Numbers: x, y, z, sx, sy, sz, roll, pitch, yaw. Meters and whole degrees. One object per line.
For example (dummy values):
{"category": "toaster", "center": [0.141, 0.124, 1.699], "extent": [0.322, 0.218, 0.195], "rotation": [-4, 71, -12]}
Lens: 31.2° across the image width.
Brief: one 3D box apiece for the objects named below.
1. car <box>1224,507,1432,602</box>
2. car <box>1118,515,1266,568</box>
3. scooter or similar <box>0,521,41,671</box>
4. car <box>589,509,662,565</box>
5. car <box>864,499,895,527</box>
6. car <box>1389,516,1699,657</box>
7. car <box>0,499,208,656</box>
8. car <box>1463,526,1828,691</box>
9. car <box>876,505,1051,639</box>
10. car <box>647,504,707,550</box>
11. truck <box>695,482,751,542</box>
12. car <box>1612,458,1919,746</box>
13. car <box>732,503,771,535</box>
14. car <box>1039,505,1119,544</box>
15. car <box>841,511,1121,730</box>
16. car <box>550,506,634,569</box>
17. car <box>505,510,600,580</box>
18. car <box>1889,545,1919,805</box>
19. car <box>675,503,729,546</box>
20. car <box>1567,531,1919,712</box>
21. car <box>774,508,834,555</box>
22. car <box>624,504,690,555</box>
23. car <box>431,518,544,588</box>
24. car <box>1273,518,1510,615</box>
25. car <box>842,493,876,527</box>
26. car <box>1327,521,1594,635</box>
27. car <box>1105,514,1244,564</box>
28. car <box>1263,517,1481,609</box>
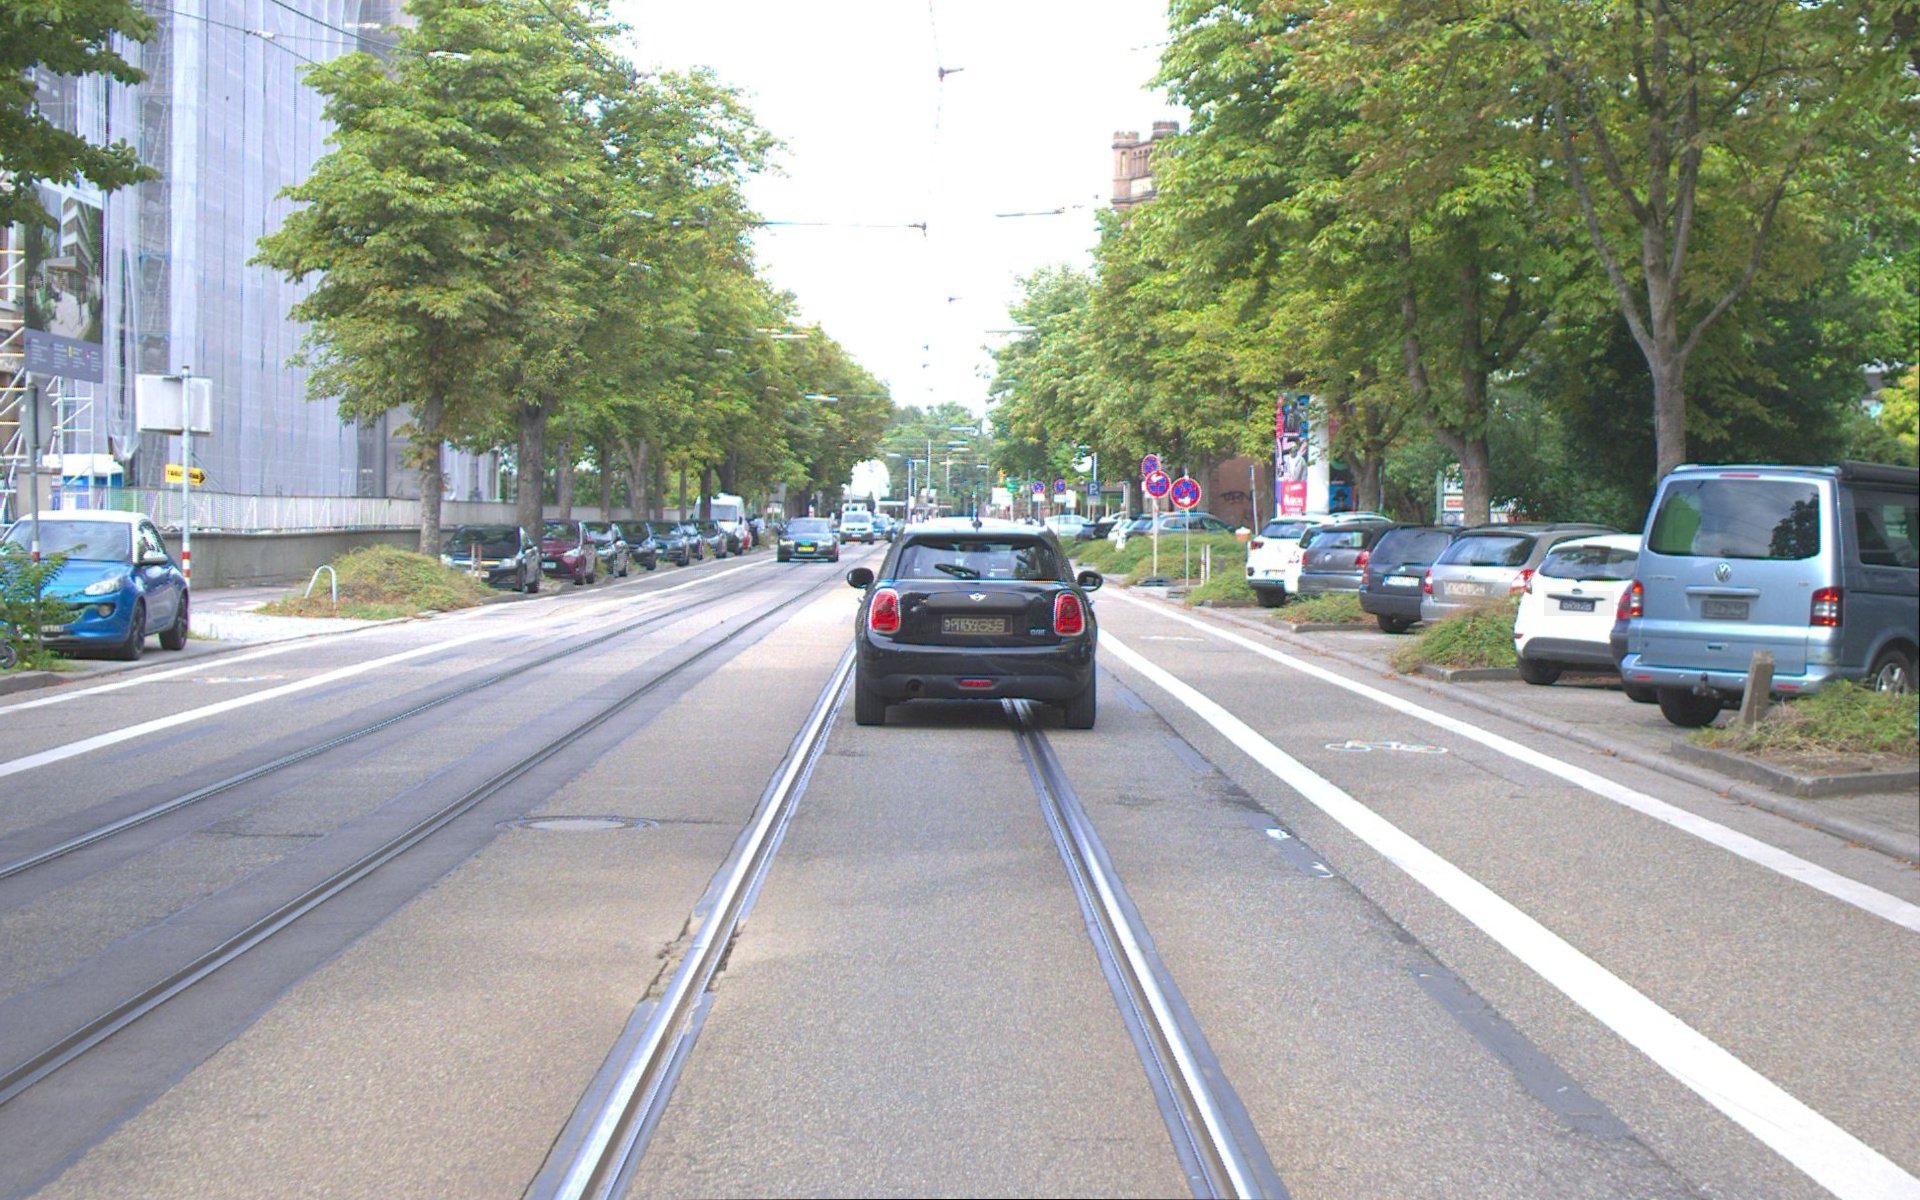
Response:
{"category": "car", "center": [6.357, -0.784, 59.283], "extent": [3.437, 1.567, 1.560], "rotation": [0, 2, -39]}
{"category": "car", "center": [6.589, -1.671, 98.059], "extent": [3.986, 1.420, 1.885], "rotation": [1, 1, -3]}
{"category": "scooter or similar", "center": [-9.153, -0.039, 31.153], "extent": [1.443, 1.339, 0.700], "rotation": [0, 1, 1]}
{"category": "car", "center": [-9.647, -1.844, 99.318], "extent": [1.802, 1.578, 4.032], "rotation": [0, 1, -1]}
{"category": "car", "center": [-4.835, -5.223, 206.694], "extent": [1.802, 1.616, 4.485], "rotation": [0, 1, -1]}
{"category": "car", "center": [6.751, -0.155, 39.562], "extent": [1.639, 1.517, 3.730], "rotation": [3, 2, 45]}
{"category": "car", "center": [-8.994, -0.270, 35.484], "extent": [1.693, 1.482, 3.678], "rotation": [2, 1, -1]}
{"category": "car", "center": [6.594, 0.070, 32.845], "extent": [1.639, 1.455, 3.819], "rotation": [2, 2, 43]}
{"category": "car", "center": [-0.007, -0.381, 41.809], "extent": [1.793, 1.465, 4.001], "rotation": [3, 1, -4]}
{"category": "car", "center": [-9.737, -2.518, 118.505], "extent": [1.802, 1.578, 4.032], "rotation": [0, 1, -1]}
{"category": "truck", "center": [-9.842, -3.652, 142.999], "extent": [2.071, 2.462, 4.899], "rotation": [0, 1, -1]}
{"category": "car", "center": [6.980, -0.006, 26.236], "extent": [1.830, 2.008, 4.264], "rotation": [2, 2, 45]}
{"category": "car", "center": [-10.574, -4.107, 174.226], "extent": [1.802, 1.578, 4.032], "rotation": [0, 1, -1]}
{"category": "car", "center": [6.283, -4.021, 182.157], "extent": [3.986, 1.904, 2.000], "rotation": [2, 2, -3]}
{"category": "car", "center": [0.074, 0.089, 25.262], "extent": [1.793, 1.418, 4.001], "rotation": [2, 1, -3]}
{"category": "car", "center": [-9.456, -1.629, 88.585], "extent": [1.802, 1.578, 4.032], "rotation": [0, 1, -1]}
{"category": "car", "center": [-9.423, -1.294, 79.719], "extent": [1.802, 1.578, 4.032], "rotation": [0, 1, -1]}
{"category": "car", "center": [7.070, 0.441, 19.788], "extent": [1.688, 1.427, 3.707], "rotation": [3, 2, 45]}
{"category": "car", "center": [-9.740, -2.849, 129.908], "extent": [1.802, 1.578, 4.032], "rotation": [0, 1, -1]}
{"category": "car", "center": [7.101, 0.165, 30.133], "extent": [1.676, 1.455, 3.819], "rotation": [2, 2, 43]}
{"category": "car", "center": [-5.032, -2.233, 111.364], "extent": [1.834, 1.443, 4.554], "rotation": [1, 2, -1]}
{"category": "car", "center": [-9.612, -2.253, 109.251], "extent": [1.802, 1.578, 4.032], "rotation": [0, 1, -1]}
{"category": "car", "center": [-9.496, -0.964, 69.329], "extent": [1.802, 1.369, 4.032], "rotation": [0, 1, -1]}
{"category": "car", "center": [6.685, -0.520, 53.130], "extent": [3.525, 1.437, 1.623], "rotation": [0, 2, -39]}
{"category": "car", "center": [-5.527, -4.896, 187.748], "extent": [1.802, 1.817, 4.485], "rotation": [0, 1, -1]}
{"category": "car", "center": [6.776, -0.294, 46.354], "extent": [1.639, 1.453, 3.730], "rotation": [3, 2, 45]}
{"category": "car", "center": [6.530, -1.875, 104.958], "extent": [3.986, 1.420, 1.885], "rotation": [1, 1, -3]}
{"category": "car", "center": [6.754, -0.609, 56.200], "extent": [3.437, 1.437, 1.560], "rotation": [0, 2, -39]}
